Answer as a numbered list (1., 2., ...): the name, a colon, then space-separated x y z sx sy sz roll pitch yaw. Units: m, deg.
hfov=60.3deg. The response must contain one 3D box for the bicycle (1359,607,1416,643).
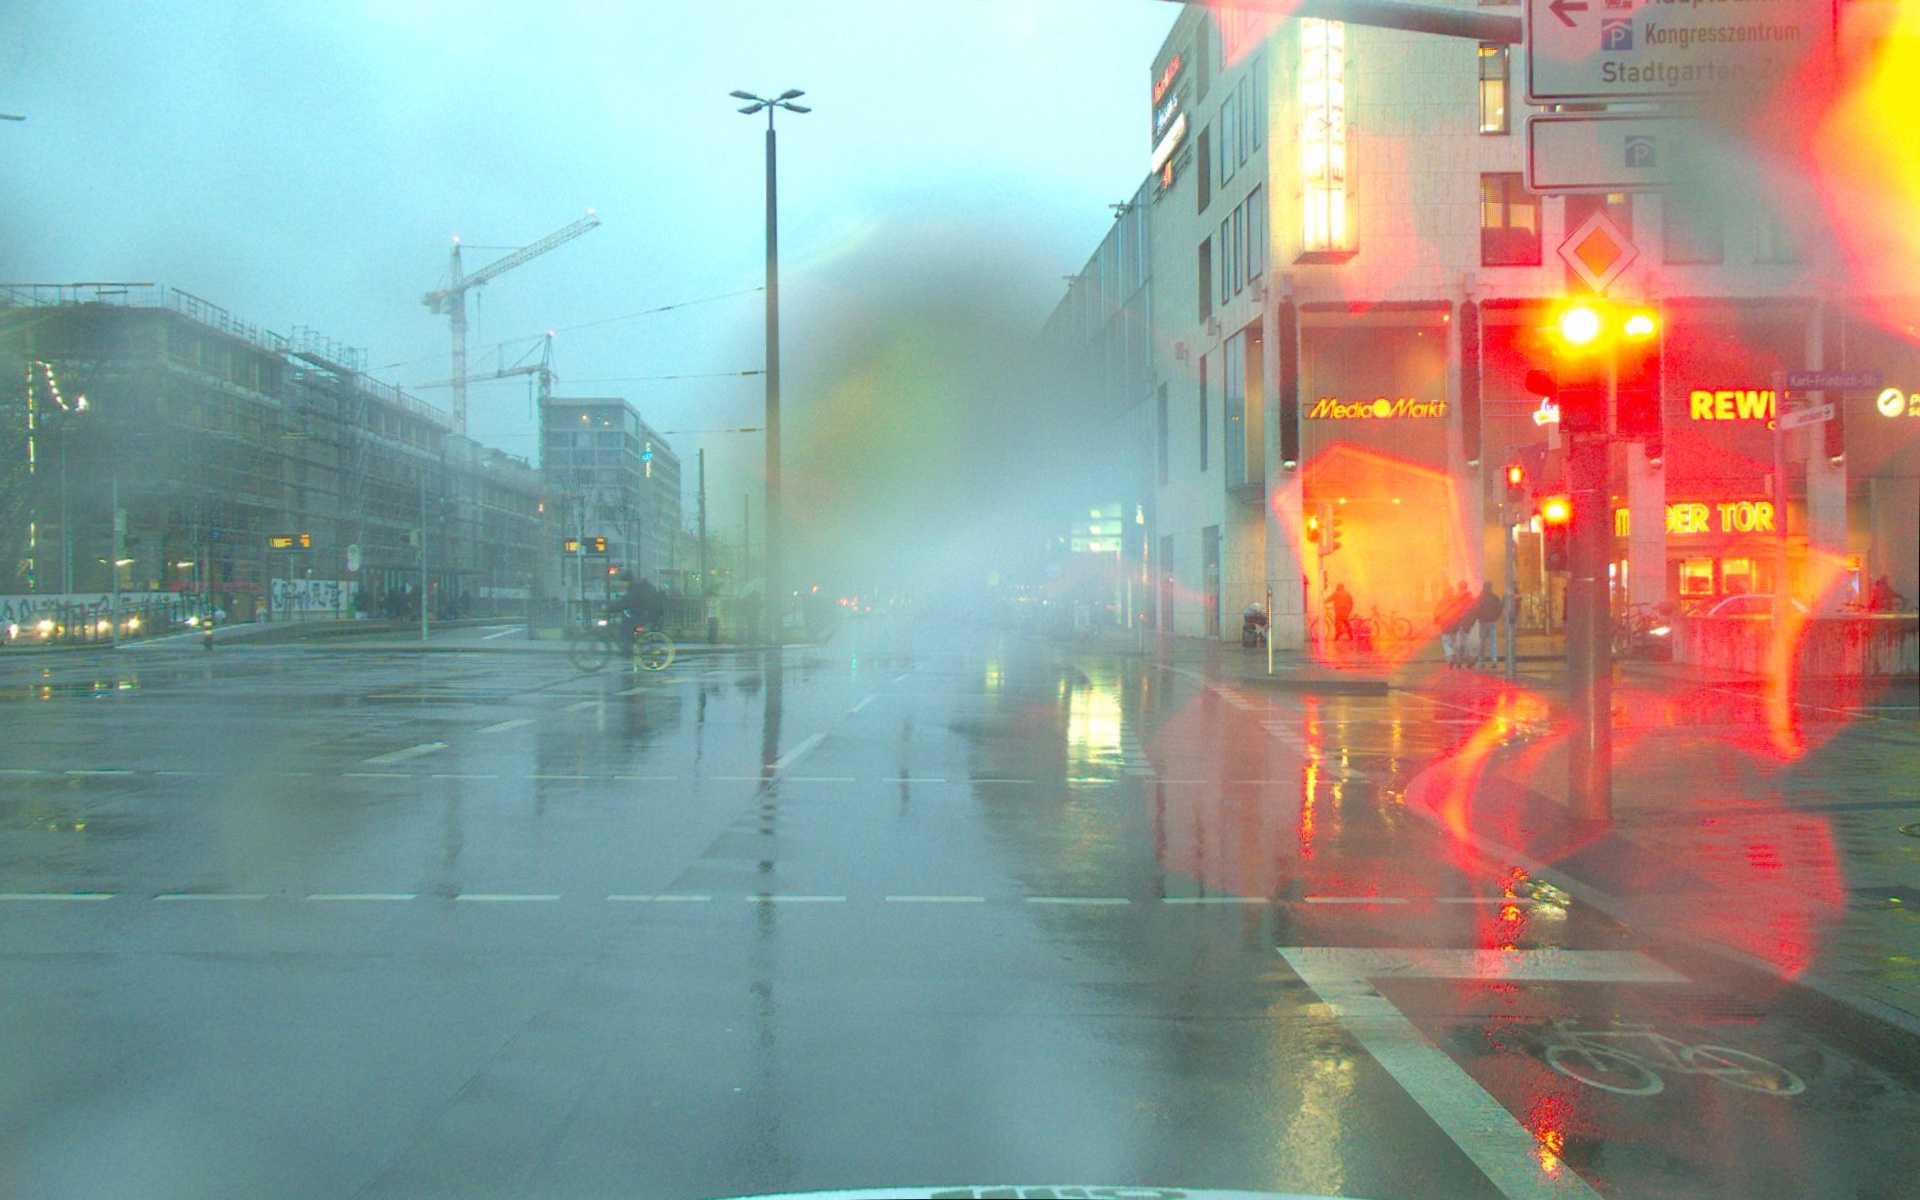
1. bicycle: 13.171 0.776 51.007 1.614 1.088 0.524 1 -1 -5

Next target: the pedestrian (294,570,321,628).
1. pedestrian: -26.921 -0.054 68.284 0.750 2.364 0.762 1 -2 -1

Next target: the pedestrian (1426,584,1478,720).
1. pedestrian: 9.155 0.958 30.803 0.700 2.484 0.758 1 -1 -1

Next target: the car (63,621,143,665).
1. car: -38.035 1.884 73.517 1.957 1.822 3.991 1 0 -10

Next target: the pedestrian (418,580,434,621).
1. pedestrian: -26.018 0.023 80.581 0.559 2.002 0.664 2 -1 -7

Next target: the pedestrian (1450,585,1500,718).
1. pedestrian: 9.790 0.972 31.429 0.675 2.484 0.758 1 -1 -1

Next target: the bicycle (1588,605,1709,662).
1. bicycle: 17.201 0.836 41.357 2.659 1.383 0.957 -1 -1 -4

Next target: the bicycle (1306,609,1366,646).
1. bicycle: 11.486 0.849 50.510 1.729 1.088 0.525 1 -1 7

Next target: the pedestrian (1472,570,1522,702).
1. pedestrian: 10.308 0.691 31.772 0.679 2.491 0.791 1 -1 -1

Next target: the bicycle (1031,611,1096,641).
1. bicycle: 3.907 0.981 62.509 2.376 1.118 0.711 -1 -1 -3

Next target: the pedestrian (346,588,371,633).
1. pedestrian: -26.121 0.472 71.823 0.750 1.931 0.762 1 -2 -1

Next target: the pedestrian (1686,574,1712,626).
1. pedestrian: 25.150 -0.001 56.290 0.721 1.748 0.738 -1 -1 27

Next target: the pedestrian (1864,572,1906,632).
1. pedestrian: 26.871 0.058 48.046 0.875 1.714 0.528 -1 -1 -1

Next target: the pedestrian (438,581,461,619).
1. pedestrian: -27.872 -0.007 90.362 0.923 2.049 1.093 1 0 -3

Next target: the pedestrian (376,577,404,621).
1. pedestrian: -26.825 -0.042 77.806 0.923 2.049 1.093 1 0 -3

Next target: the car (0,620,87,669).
1. car: -37.162 1.776 67.062 1.830 1.860 3.993 1 0 -8

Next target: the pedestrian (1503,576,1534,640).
1. pedestrian: 17.950 0.248 53.170 0.828 2.049 0.698 -1 0 8

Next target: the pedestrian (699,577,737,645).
1. pedestrian: -6.788 0.306 46.409 0.813 1.863 0.777 1 -1 -31

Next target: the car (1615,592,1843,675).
1. car: 16.249 0.699 35.090 3.905 1.646 2.000 1 0 0

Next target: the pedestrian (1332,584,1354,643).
1. pedestrian: 11.567 0.402 49.942 0.587 1.775 0.525 1 -1 7

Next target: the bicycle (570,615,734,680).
1. bicycle: -5.501 0.849 29.556 2.810 1.118 0.742 1 0 -17

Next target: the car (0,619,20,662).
1. car: -36.406 1.505 60.545 2.038 1.557 4.604 -1 0 -10

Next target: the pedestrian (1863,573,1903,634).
1. pedestrian: 26.206 0.101 46.959 0.726 1.713 0.782 1 -1 5

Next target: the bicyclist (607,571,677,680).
1. bicyclist: -5.676 0.447 29.499 1.138 1.904 0.742 1 -1 -16

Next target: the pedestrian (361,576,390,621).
1. pedestrian: -26.885 -0.050 76.084 0.923 2.049 1.093 1 0 -3

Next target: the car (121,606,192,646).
1. car: -38.347 1.206 79.067 1.957 1.822 3.991 1 0 -10

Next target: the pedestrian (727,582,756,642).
1. pedestrian: -6.321 0.358 47.891 0.601 1.715 0.575 0 -1 41

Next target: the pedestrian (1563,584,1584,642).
1. pedestrian: 17.908 0.373 48.298 0.476 1.692 0.457 -1 -1 30

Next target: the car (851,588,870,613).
1. car: -8.517 0.046 141.354 1.546 2.049 3.169 -1 0 -3

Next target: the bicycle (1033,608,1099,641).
1. bicycle: 3.959 0.917 61.612 2.393 1.174 0.674 -1 -1 -2

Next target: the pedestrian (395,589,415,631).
1. pedestrian: -25.197 0.445 75.138 0.684 1.913 0.553 1 -1 -2

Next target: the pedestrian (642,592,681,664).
1. pedestrian: -8.532 0.793 47.270 0.771 2.049 0.724 0 -1 41
